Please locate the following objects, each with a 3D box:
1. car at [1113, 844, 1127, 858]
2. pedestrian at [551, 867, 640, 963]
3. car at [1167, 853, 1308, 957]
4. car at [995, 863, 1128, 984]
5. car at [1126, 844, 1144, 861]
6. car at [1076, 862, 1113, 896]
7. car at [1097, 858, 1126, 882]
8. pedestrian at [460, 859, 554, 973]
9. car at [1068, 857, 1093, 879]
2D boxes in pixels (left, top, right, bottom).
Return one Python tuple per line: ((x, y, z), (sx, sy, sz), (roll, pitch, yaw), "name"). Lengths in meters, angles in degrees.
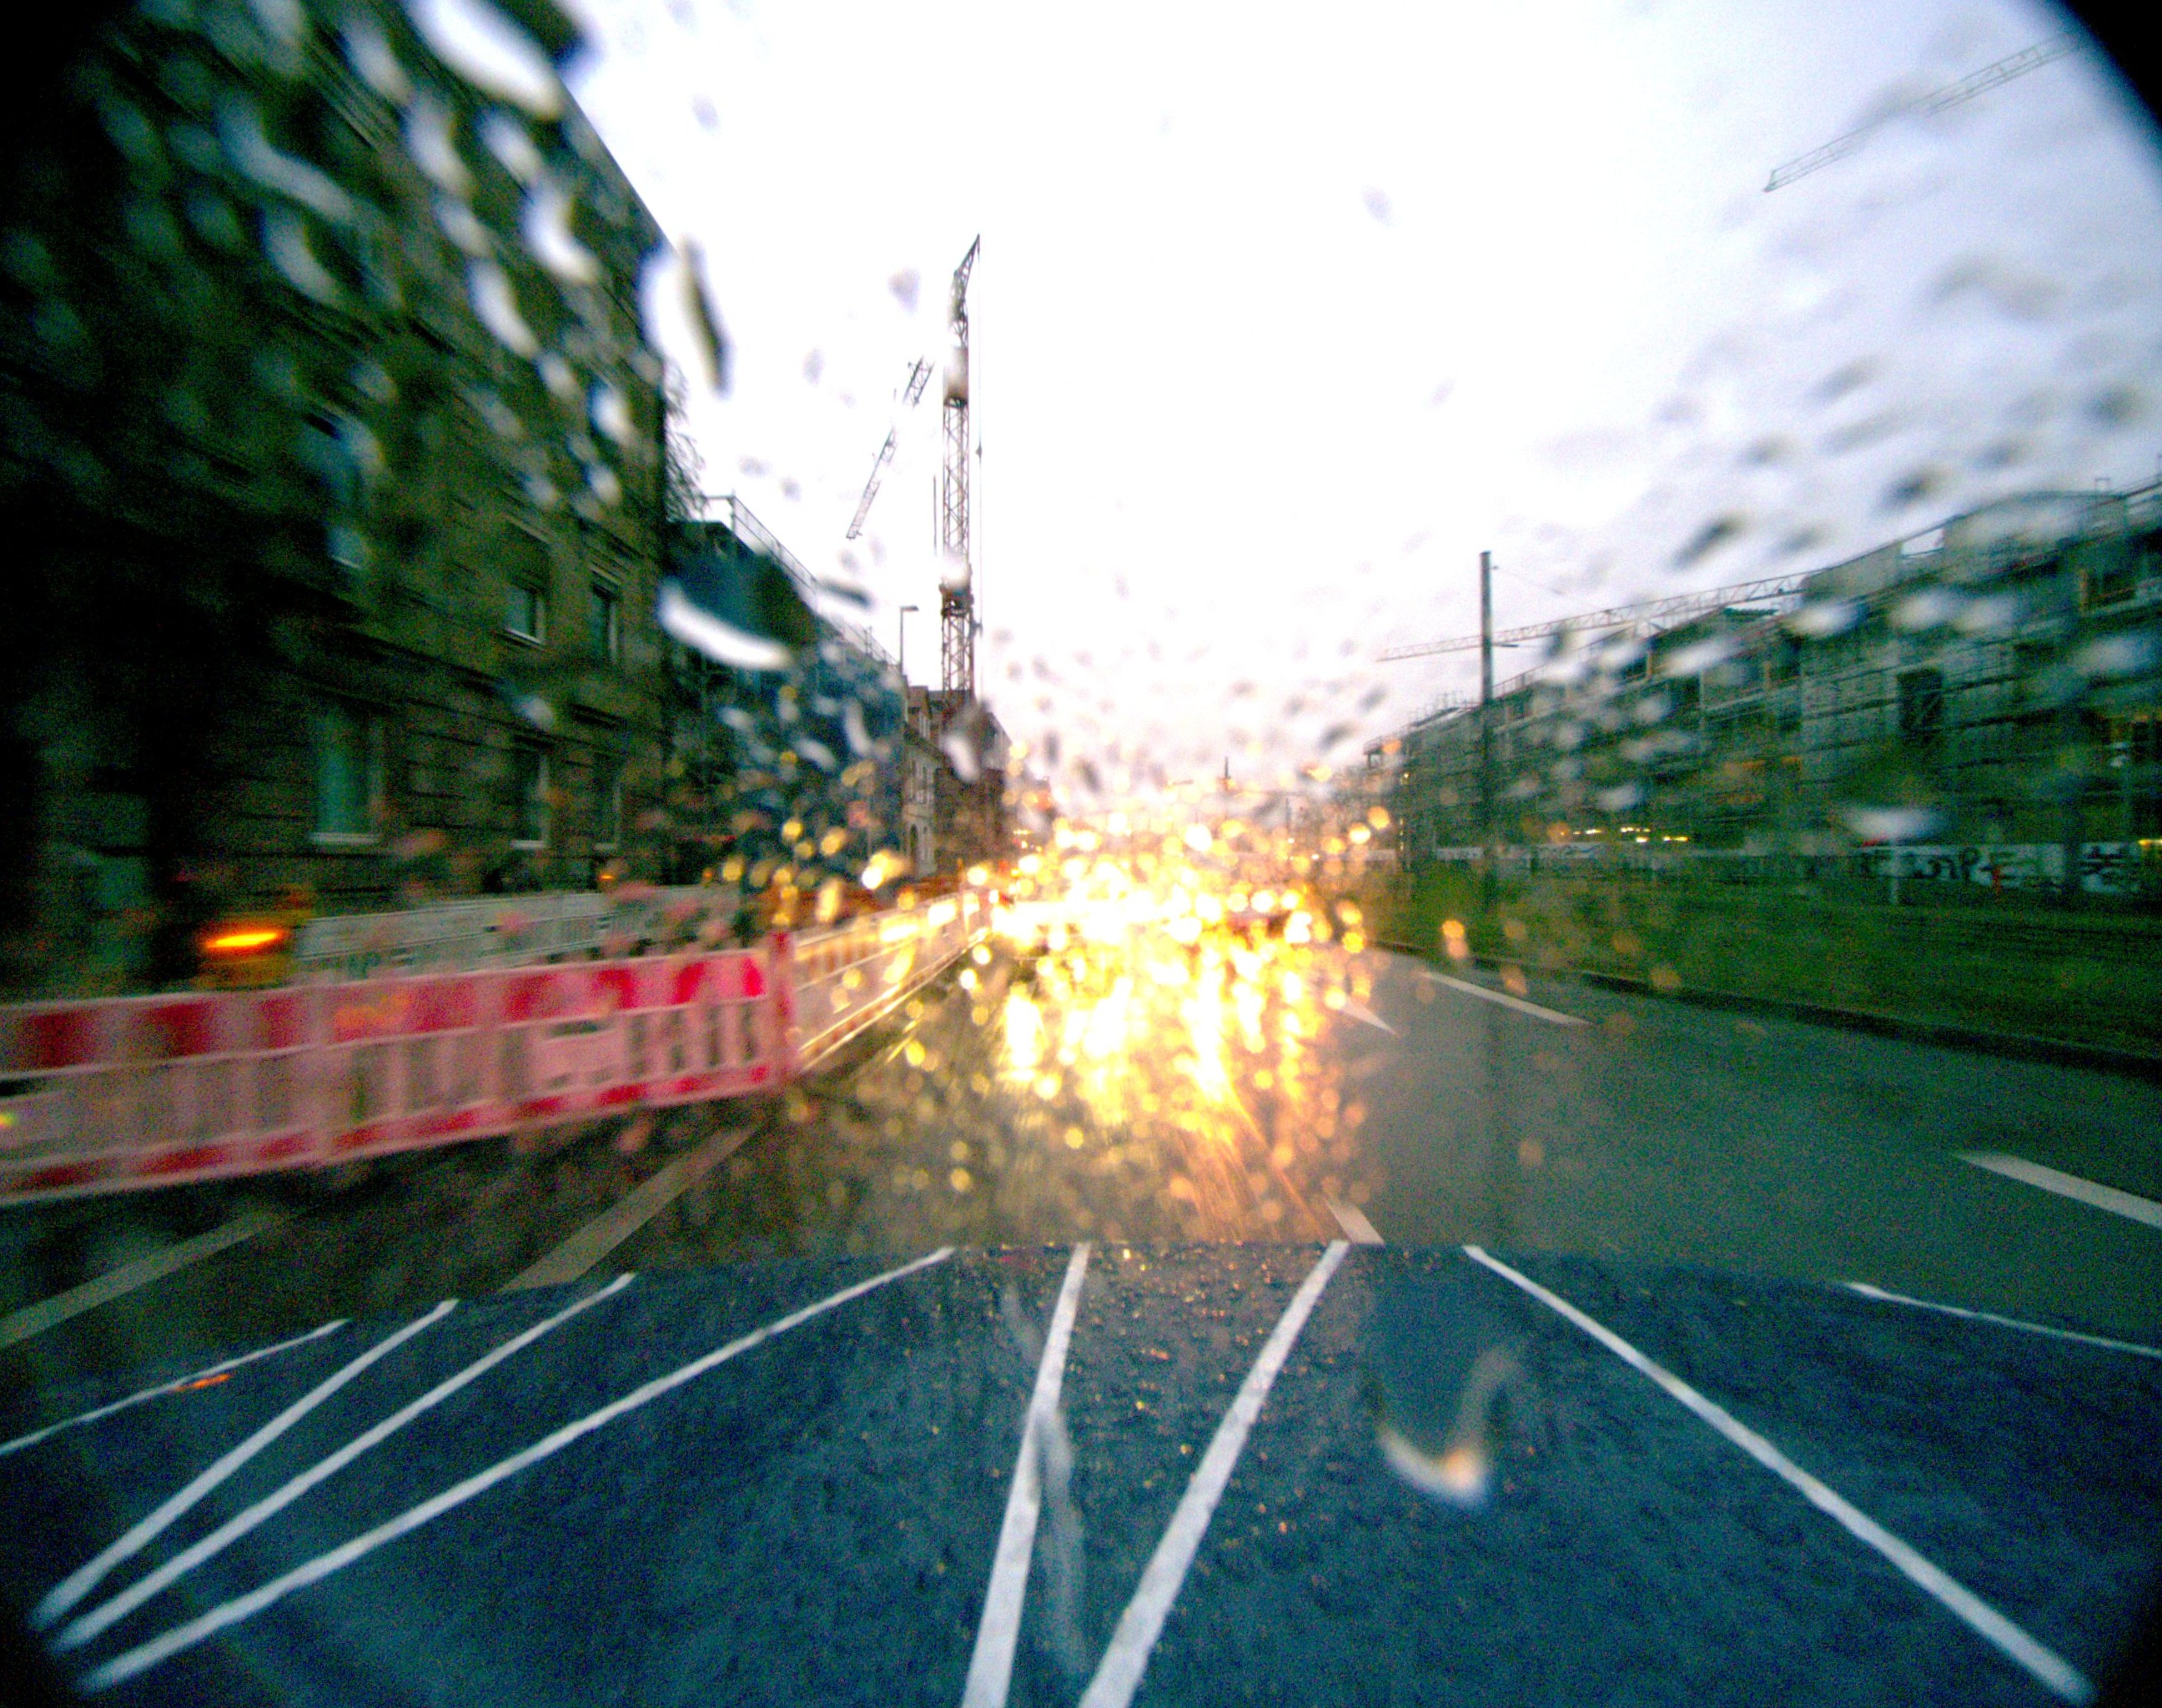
((5.176, -0.411, 99.881), (1.768, 1.614, 3.900), (-2, 1, 3), "car")
((-8.045, 0.984, 12.628), (0.870, 1.536, 0.929), (0, 0, 1), "pedestrian")
((2.723, 0.824, 14.191), (1.815, 1.636, 4.135), (-1, 0, 1), "car")
((-0.286, 0.977, 12.361), (1.769, 1.504, 3.899), (-2, 1, -1), "car")
((5.694, -0.178, 80.188), (1.768, 1.614, 3.900), (-2, 1, 3), "car")
((0.650, 1.262, 39.630), (1.769, 1.504, 3.899), (-2, 1, -1), "car")
((2.116, 1.079, 53.504), (1.769, 1.504, 3.899), (-2, 1, -1), "car")
((-8.651, 0.916, 11.481), (0.870, 1.663, 0.707), (0, 0, 1), "pedestrian")
((-0.043, 1.017, 57.439), (1.769, 1.504, 3.899), (-2, 1, -1), "car")
